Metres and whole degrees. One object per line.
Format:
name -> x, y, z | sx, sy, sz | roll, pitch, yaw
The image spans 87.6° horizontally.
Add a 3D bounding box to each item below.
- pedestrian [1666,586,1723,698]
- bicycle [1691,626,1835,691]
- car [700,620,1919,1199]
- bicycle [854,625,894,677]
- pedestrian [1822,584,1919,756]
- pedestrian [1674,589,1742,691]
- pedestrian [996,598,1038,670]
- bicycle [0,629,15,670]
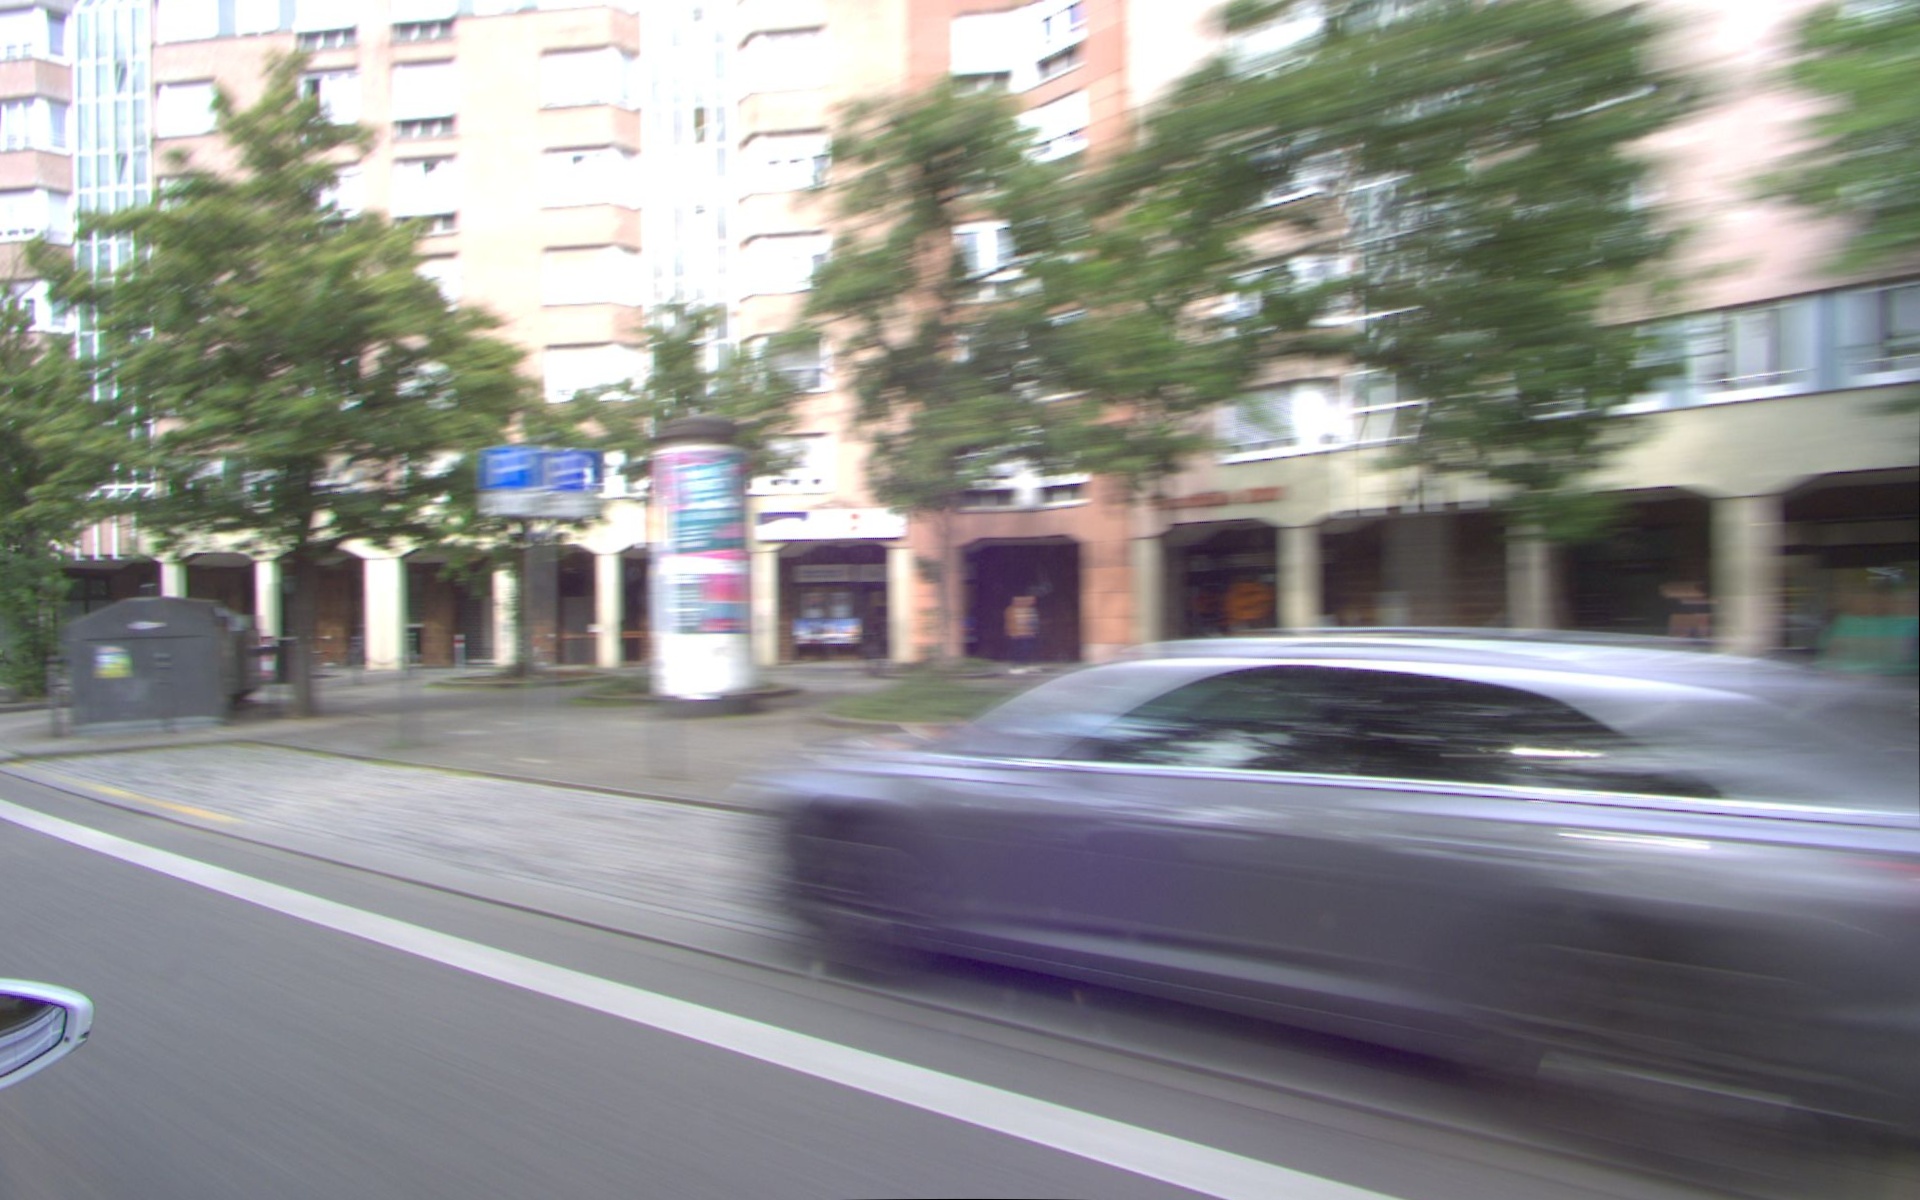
pedestrian -> 11.381, 0.635, 15.513 | 0.673, 1.684, 0.603 | 0, 0, 40
bicycle -> 13.307, 0.951, 16.650 | 1.839, 1.026, 0.483 | -1, -1, 39
car -> 1.214, 0.837, 4.188 | 4.599, 1.462, 1.812 | -1, 0, 33
bicycle -> -1.980, 1.133, 22.887 | 0.586, 1.127, 1.962 | 0, -1, -15
pedestrian -> 8.878, 0.659, 9.785 | 0.673, 1.607, 0.603 | 0, 0, 39
pedestrian -> 11.895, 0.618, 15.924 | 0.790, 1.576, 0.706 | 0, 1, 43
pedestrian -> 1.355, 0.808, 23.868 | 0.841, 1.684, 0.530 | 0, 0, 42
bicycle -> -27.752, 1.419, 28.108 | 1.636, 1.143, 0.669 | -1, 0, -19
